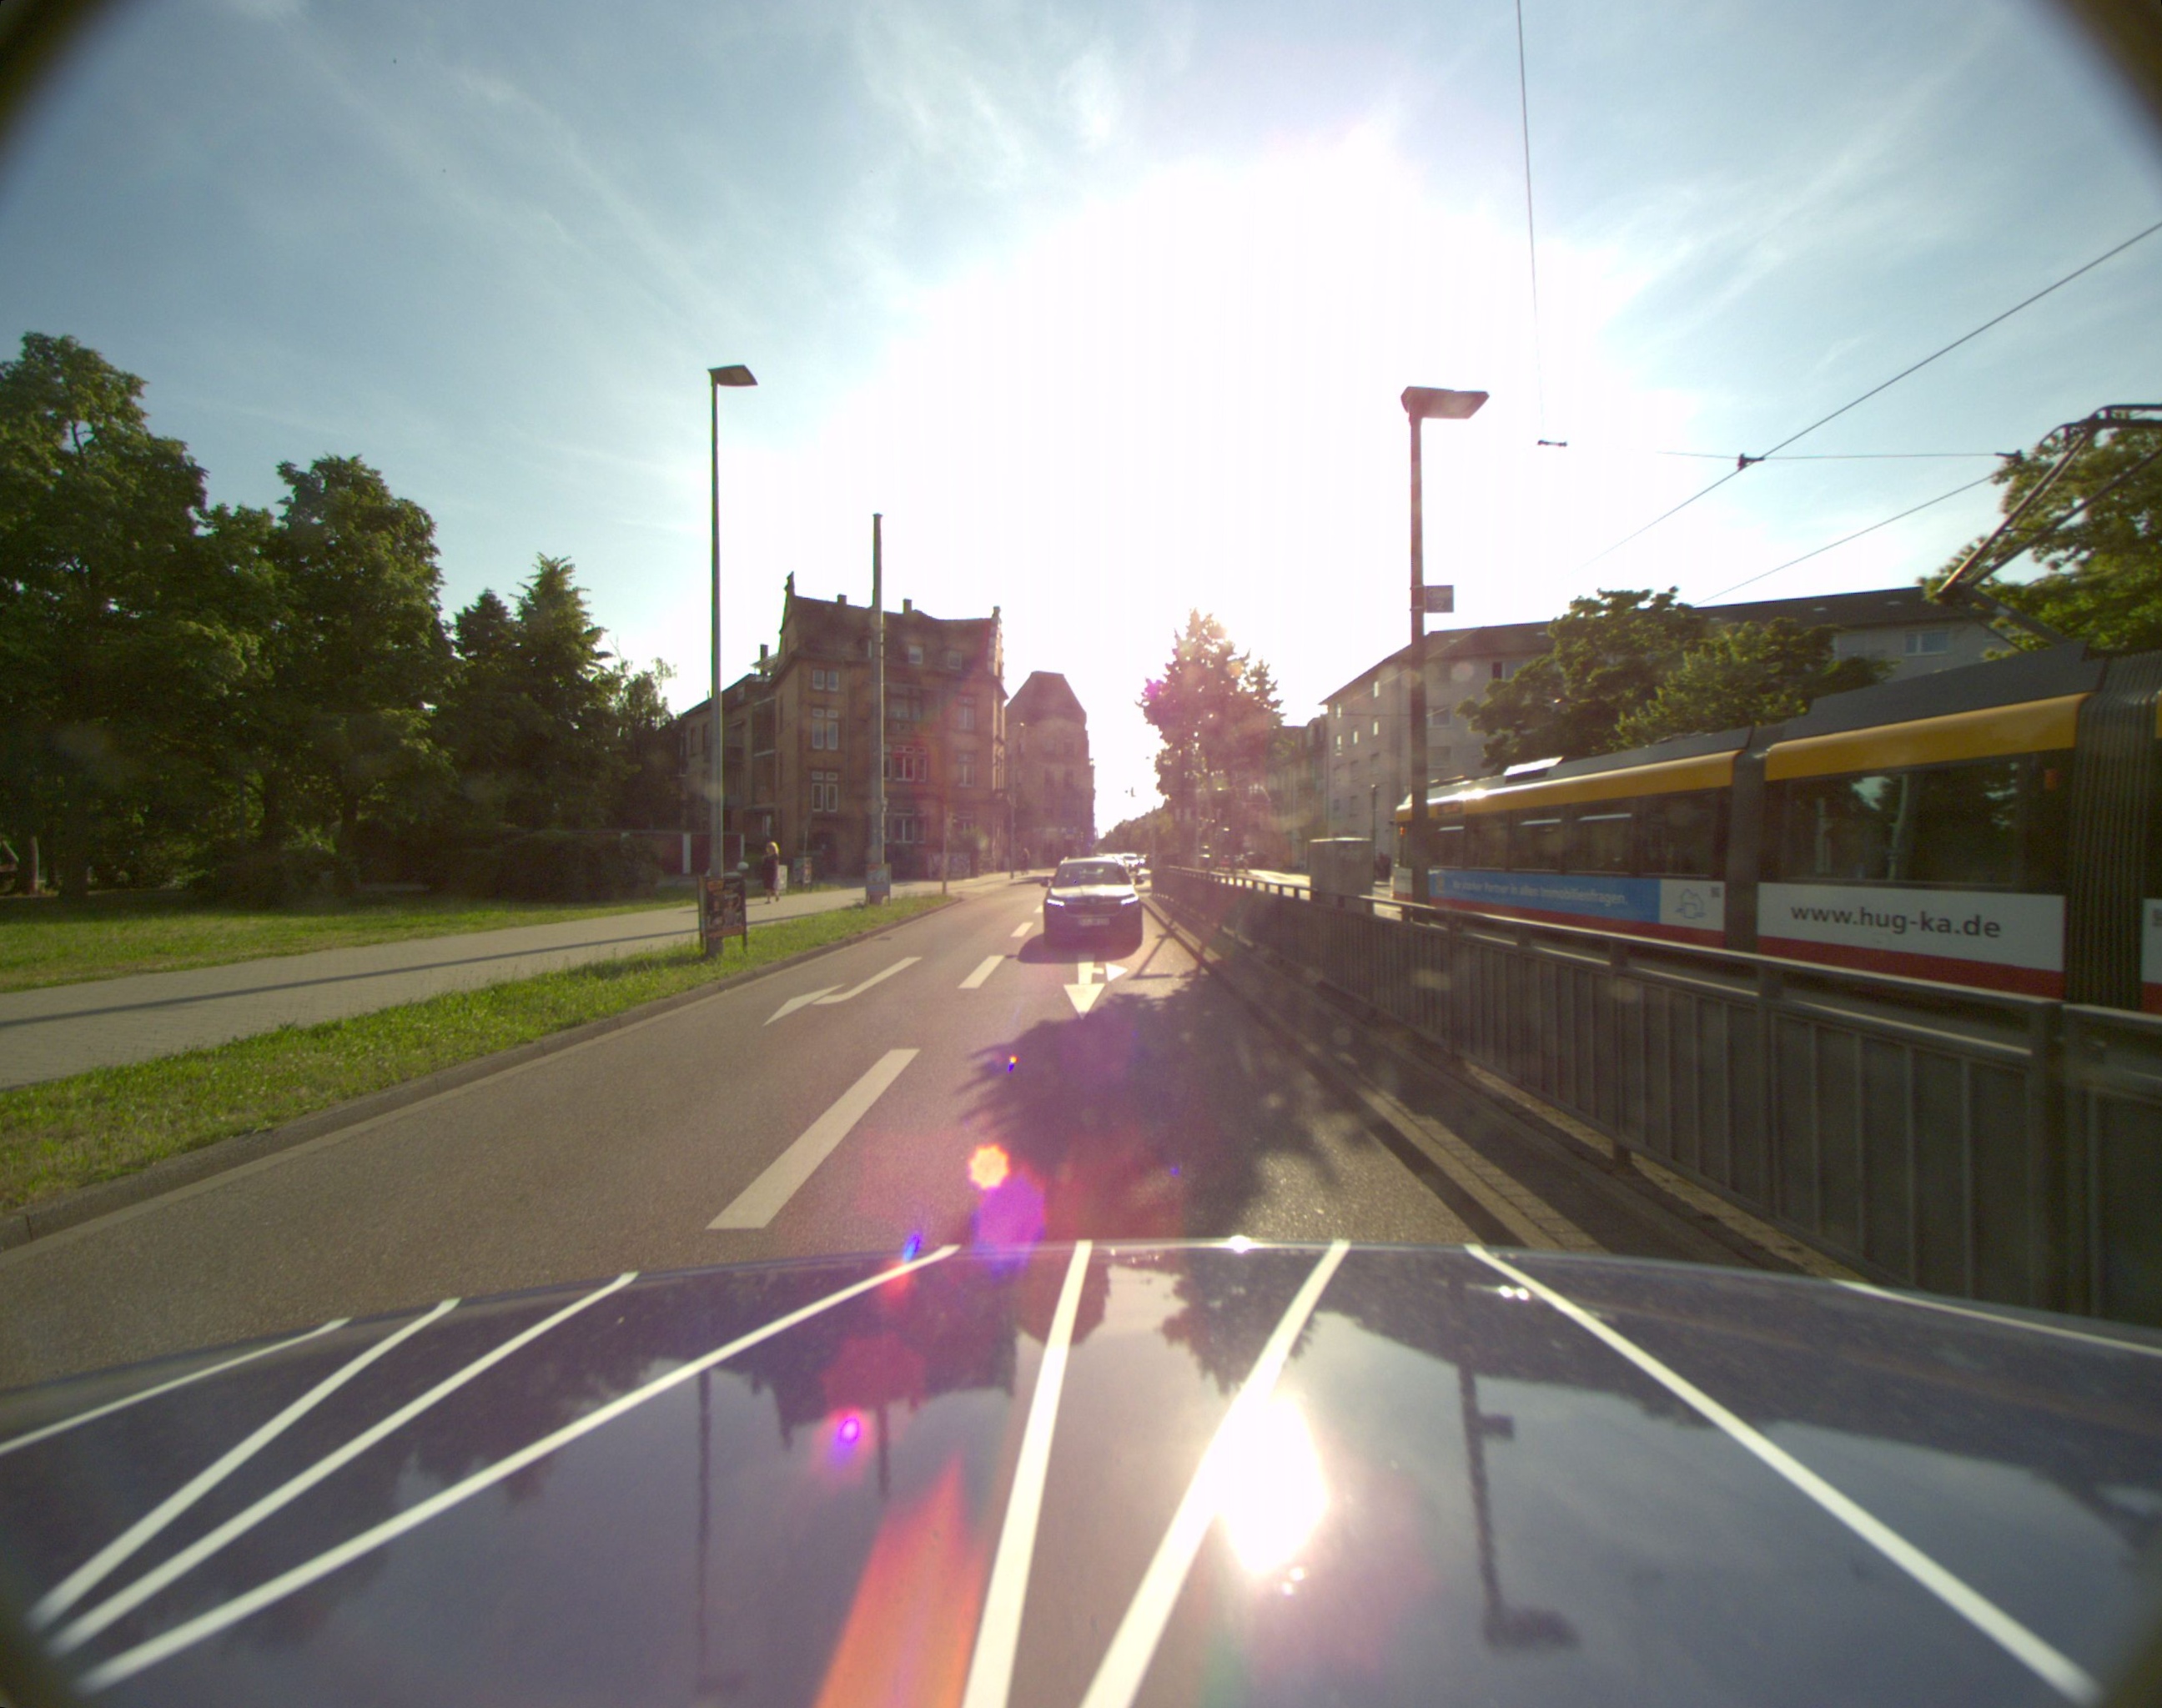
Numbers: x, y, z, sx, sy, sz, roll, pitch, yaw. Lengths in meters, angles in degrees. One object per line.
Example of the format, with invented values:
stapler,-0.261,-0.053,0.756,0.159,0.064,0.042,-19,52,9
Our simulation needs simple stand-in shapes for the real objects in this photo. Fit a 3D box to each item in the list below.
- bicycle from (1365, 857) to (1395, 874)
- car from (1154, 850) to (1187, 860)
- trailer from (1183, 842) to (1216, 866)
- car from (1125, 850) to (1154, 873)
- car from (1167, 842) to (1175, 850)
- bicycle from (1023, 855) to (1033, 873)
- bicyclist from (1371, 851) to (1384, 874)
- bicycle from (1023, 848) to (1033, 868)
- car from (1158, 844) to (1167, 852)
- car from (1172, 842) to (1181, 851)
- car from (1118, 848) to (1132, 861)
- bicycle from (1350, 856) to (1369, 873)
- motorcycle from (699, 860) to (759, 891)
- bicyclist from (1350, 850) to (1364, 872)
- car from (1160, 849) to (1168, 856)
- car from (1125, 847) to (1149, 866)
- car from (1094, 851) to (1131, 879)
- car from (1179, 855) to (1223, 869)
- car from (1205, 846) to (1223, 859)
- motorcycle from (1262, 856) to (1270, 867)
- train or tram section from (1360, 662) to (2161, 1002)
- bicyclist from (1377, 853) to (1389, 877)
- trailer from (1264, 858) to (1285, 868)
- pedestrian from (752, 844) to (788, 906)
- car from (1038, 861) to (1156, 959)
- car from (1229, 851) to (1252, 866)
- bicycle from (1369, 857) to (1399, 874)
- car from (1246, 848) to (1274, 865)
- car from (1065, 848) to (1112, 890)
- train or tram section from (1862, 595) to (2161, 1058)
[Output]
bicycle,21.403,0.790,54.306,1.976,1.196,0.736,-1,1,22
car,12.853,0.175,109.531,4.259,1.414,2.177,-1,0,43
trailer,12.079,0.047,77.533,2.858,2.378,1.726,0,0,33
car,4.364,0.525,55.992,1.997,1.565,4.002,-1,0,6
car,22.663,-1.929,191.706,1.998,2.002,4.001,-1,0,5
bicycle,-3.449,0.635,49.192,0.485,1.183,1.338,-1,0,-9
bicyclist,21.202,0.636,54.328,0.851,1.633,0.815,-1,0,21
bicycle,-3.457,0.269,49.257,0.575,1.290,0.687,-1,1,-9
car,22.018,-1.593,204.239,1.998,2.002,4.000,-1,0,1
car,22.601,-1.844,180.466,1.998,2.002,4.001,-1,0,5
car,6.999,0.079,120.826,1.998,2.002,4.000,0,1,1
bicycle,17.946,0.667,49.029,0.543,1.012,2.251,-1,0,4
motorcycle,-13.850,0.833,29.947,2.002,1.153,0.708,-1,1,-4
bicyclist,17.901,0.454,49.238,0.652,1.405,0.717,-1,1,4
car,24.688,-0.440,226.566,1.998,2.002,4.000,-1,0,1
car,5.440,0.226,74.267,1.998,1.772,4.000,0,1,0
car,1.966,0.631,46.094,1.997,1.565,4.002,-1,0,6
car,11.661,0.752,74.075,3.941,1.352,1.676,1,1,37
car,20.297,-0.228,116.043,2.170,1.890,4.611,-1,0,3
motorcycle,19.217,0.745,78.987,0.636,1.074,1.735,-1,0,10
train or tram section,9.743,-0.231,15.089,3.170,3.459,14.532,-1,0,0
bicyclist,21.030,0.741,52.881,0.771,1.633,0.796,1,1,22
trailer,19.477,0.897,76.596,1.444,0.891,2.880,-4,0,2
pedestrian,-8.696,0.577,21.256,0.616,1.682,0.549,5,1,5
car,0.364,0.894,13.885,1.839,1.472,4.001,0,0,3
car,19.924,0.538,94.994,2.170,1.740,4.611,-1,0,3
bicycle,21.098,0.806,52.899,1.912,1.104,0.736,1,1,22
car,19.479,0.256,82.985,2.170,1.740,4.719,-1,0,3
car,0.352,0.644,35.014,1.998,1.827,4.000,-1,0,1
train or tram section,9.625,-0.213,0.629,3.170,3.459,14.471,-1,0,0
